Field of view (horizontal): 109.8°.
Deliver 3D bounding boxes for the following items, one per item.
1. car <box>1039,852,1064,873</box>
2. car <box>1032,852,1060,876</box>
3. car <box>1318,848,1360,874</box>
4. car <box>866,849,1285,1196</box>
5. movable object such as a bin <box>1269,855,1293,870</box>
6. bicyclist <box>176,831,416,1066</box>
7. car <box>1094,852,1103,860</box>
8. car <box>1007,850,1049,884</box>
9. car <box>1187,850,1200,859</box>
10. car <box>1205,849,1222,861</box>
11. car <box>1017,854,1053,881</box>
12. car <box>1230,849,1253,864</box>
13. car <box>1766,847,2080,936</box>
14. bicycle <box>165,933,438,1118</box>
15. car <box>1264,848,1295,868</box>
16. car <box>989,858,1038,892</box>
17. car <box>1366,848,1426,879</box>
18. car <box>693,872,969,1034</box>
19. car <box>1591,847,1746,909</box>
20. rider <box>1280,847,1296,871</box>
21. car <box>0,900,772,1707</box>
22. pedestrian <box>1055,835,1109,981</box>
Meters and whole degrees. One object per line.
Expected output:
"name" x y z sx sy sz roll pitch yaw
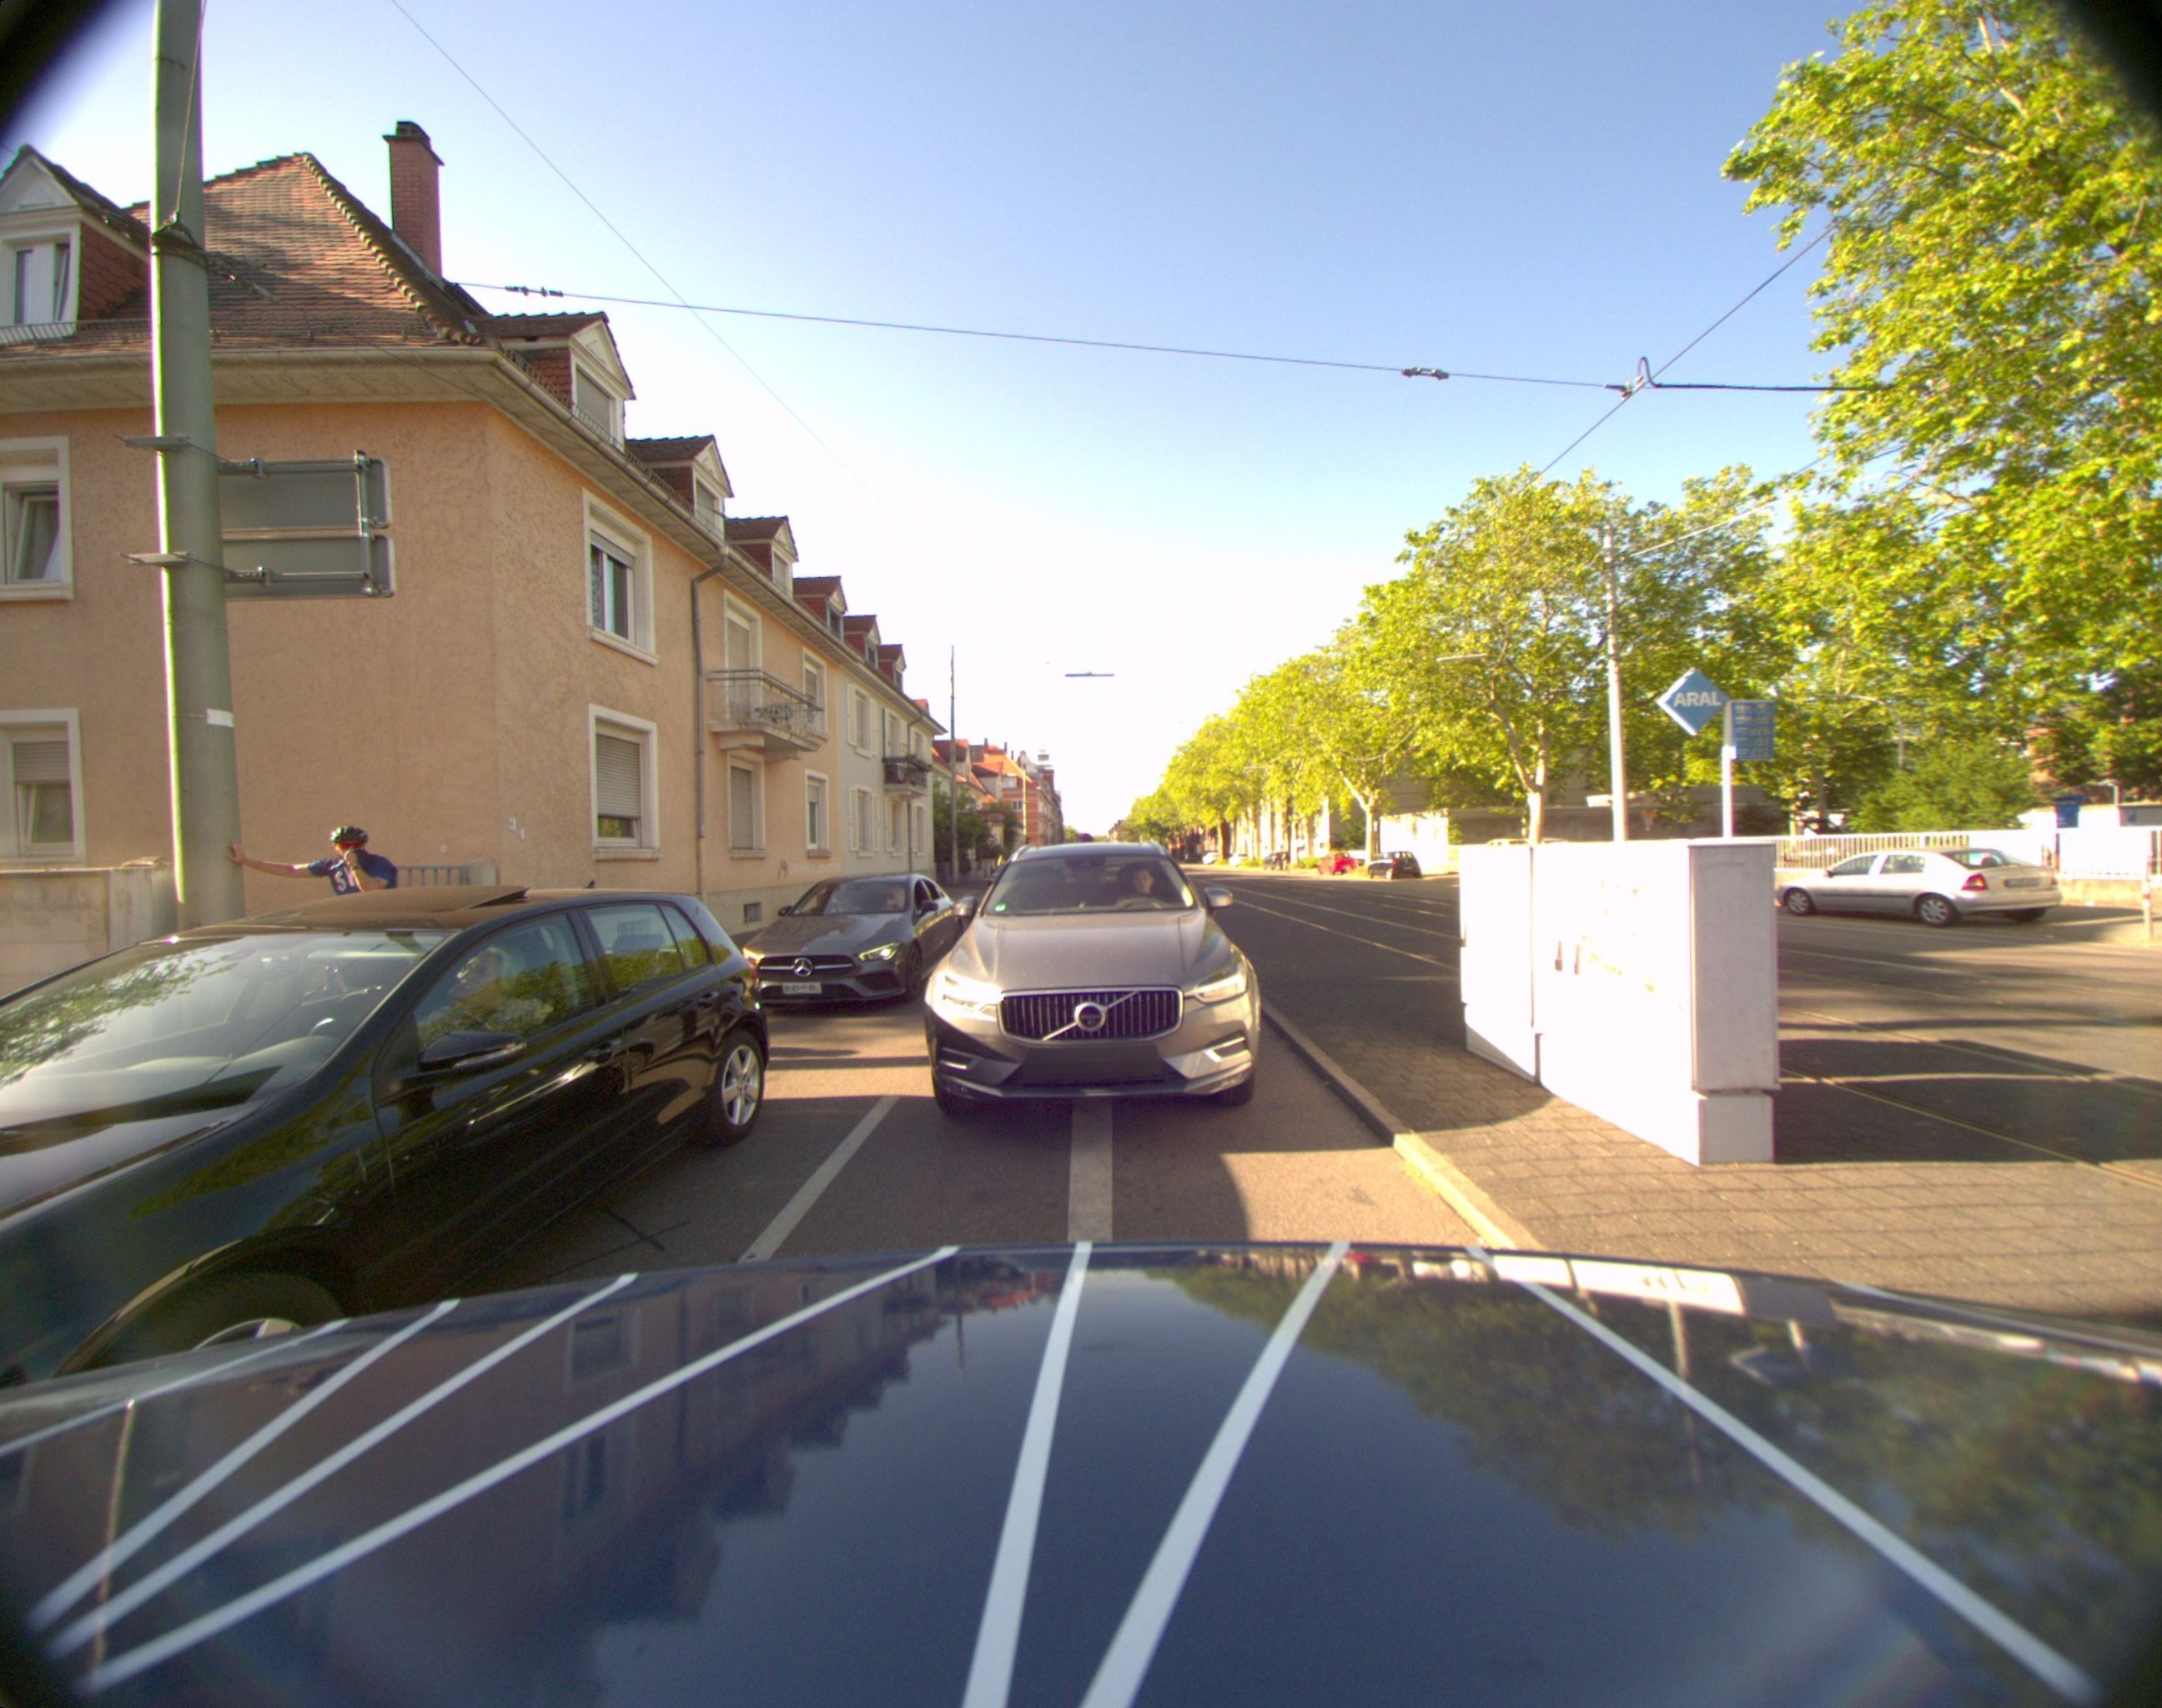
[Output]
"car" -2.589 0.703 67.279 1.825 1.701 4.334 -2 1 1
"car" -2.777 0.781 60.913 1.825 1.701 4.334 -2 1 1
"car" 16.962 0.415 50.055 1.661 1.486 3.377 -4 1 3
"car" 0.125 0.802 5.777 1.924 1.579 4.387 -2 1 4
"movable object such as a bin" 14.826 0.617 56.473 1.178 1.097 1.834 -2 1 -4
"bicyclist" -6.027 0.696 5.898 1.021 1.684 0.729 2 0 -7
"car" 3.631 0.387 158.140 1.851 1.640 3.999 -2 1 1
"car" -2.902 0.695 42.394 1.825 1.701 4.334 -2 1 1
"car" 18.562 0.071 125.556 1.661 1.452 3.730 -4 1 3
"car" 17.581 0.112 100.680 1.661 1.452 3.730 -4 1 3
"car" -2.782 0.803 47.155 1.825 1.424 4.334 -2 1 1
"car" 17.598 0.257 83.467 1.754 1.532 3.878 -4 1 3
"car" 16.204 0.633 14.989 1.687 1.358 3.989 -6 0 1
"bicycle" -5.922 1.243 5.921 0.556 1.069 1.624 2 0 -7
"car" 17.215 0.329 65.988 1.754 1.582 3.878 -4 1 3
"car" -3.226 0.969 37.139 1.825 1.422 4.334 -2 1 1
"car" 16.840 0.453 40.778 1.723 1.436 3.769 -5 1 3
"car" -2.709 0.997 9.468 1.825 1.422 4.491 -2 -1 1
"car" 16.366 0.604 21.403 1.619 1.436 3.606 -4 1 3
"rider" 15.008 0.354 55.148 0.725 1.639 1.106 -2 1 -4
"car" -2.797 1.047 2.635 1.717 1.430 3.990 -2 1 1
"pedestrian" 0.020 0.681 9.898 0.609 1.832 0.599 -2 1 1
